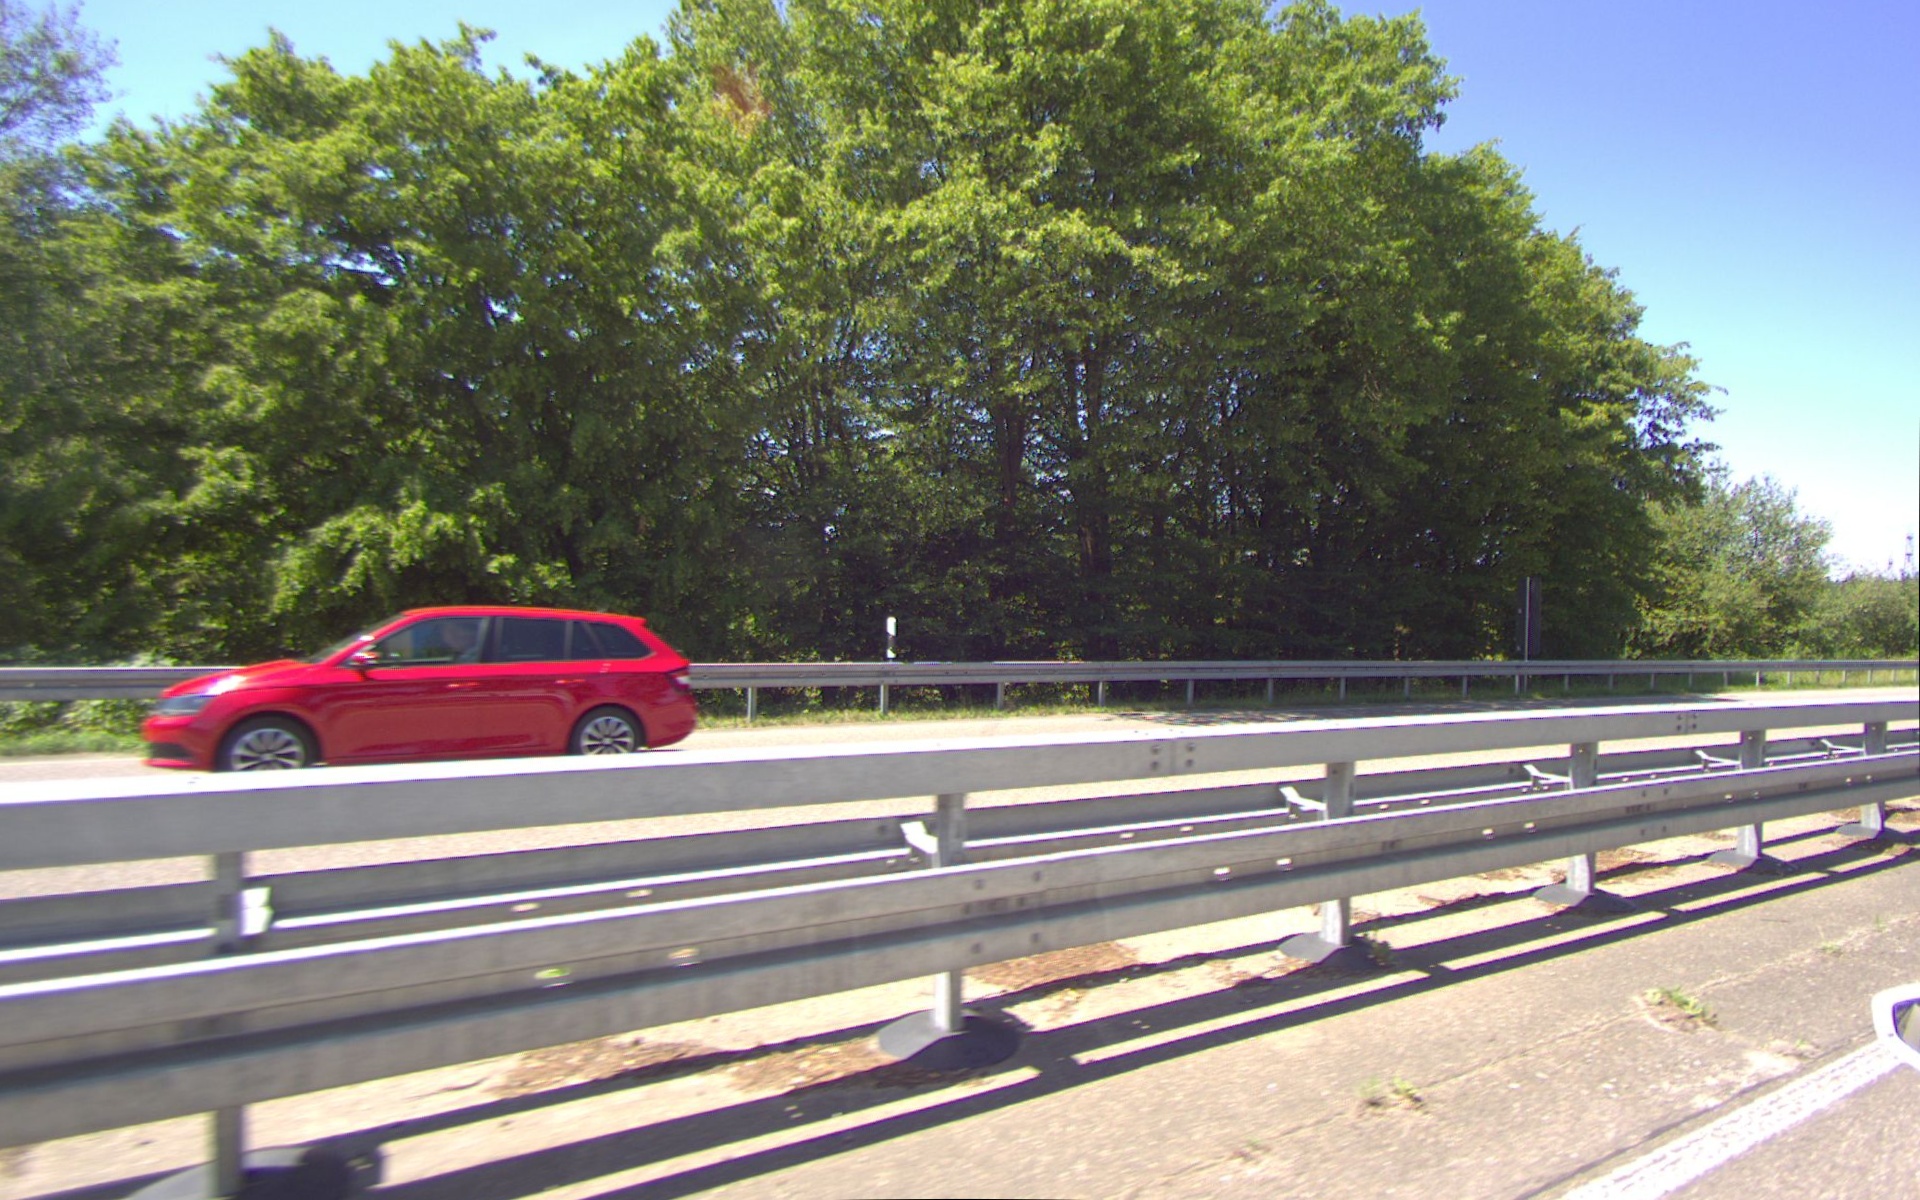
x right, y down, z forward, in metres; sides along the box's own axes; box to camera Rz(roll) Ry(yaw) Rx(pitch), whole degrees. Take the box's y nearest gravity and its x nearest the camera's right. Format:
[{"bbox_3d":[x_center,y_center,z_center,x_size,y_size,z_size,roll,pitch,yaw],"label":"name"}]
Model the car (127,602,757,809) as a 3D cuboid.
[{"bbox_3d":[-4.276,0.797,8.919,4.523,1.438,1.767,2,-1,-31],"label":"car"}]
